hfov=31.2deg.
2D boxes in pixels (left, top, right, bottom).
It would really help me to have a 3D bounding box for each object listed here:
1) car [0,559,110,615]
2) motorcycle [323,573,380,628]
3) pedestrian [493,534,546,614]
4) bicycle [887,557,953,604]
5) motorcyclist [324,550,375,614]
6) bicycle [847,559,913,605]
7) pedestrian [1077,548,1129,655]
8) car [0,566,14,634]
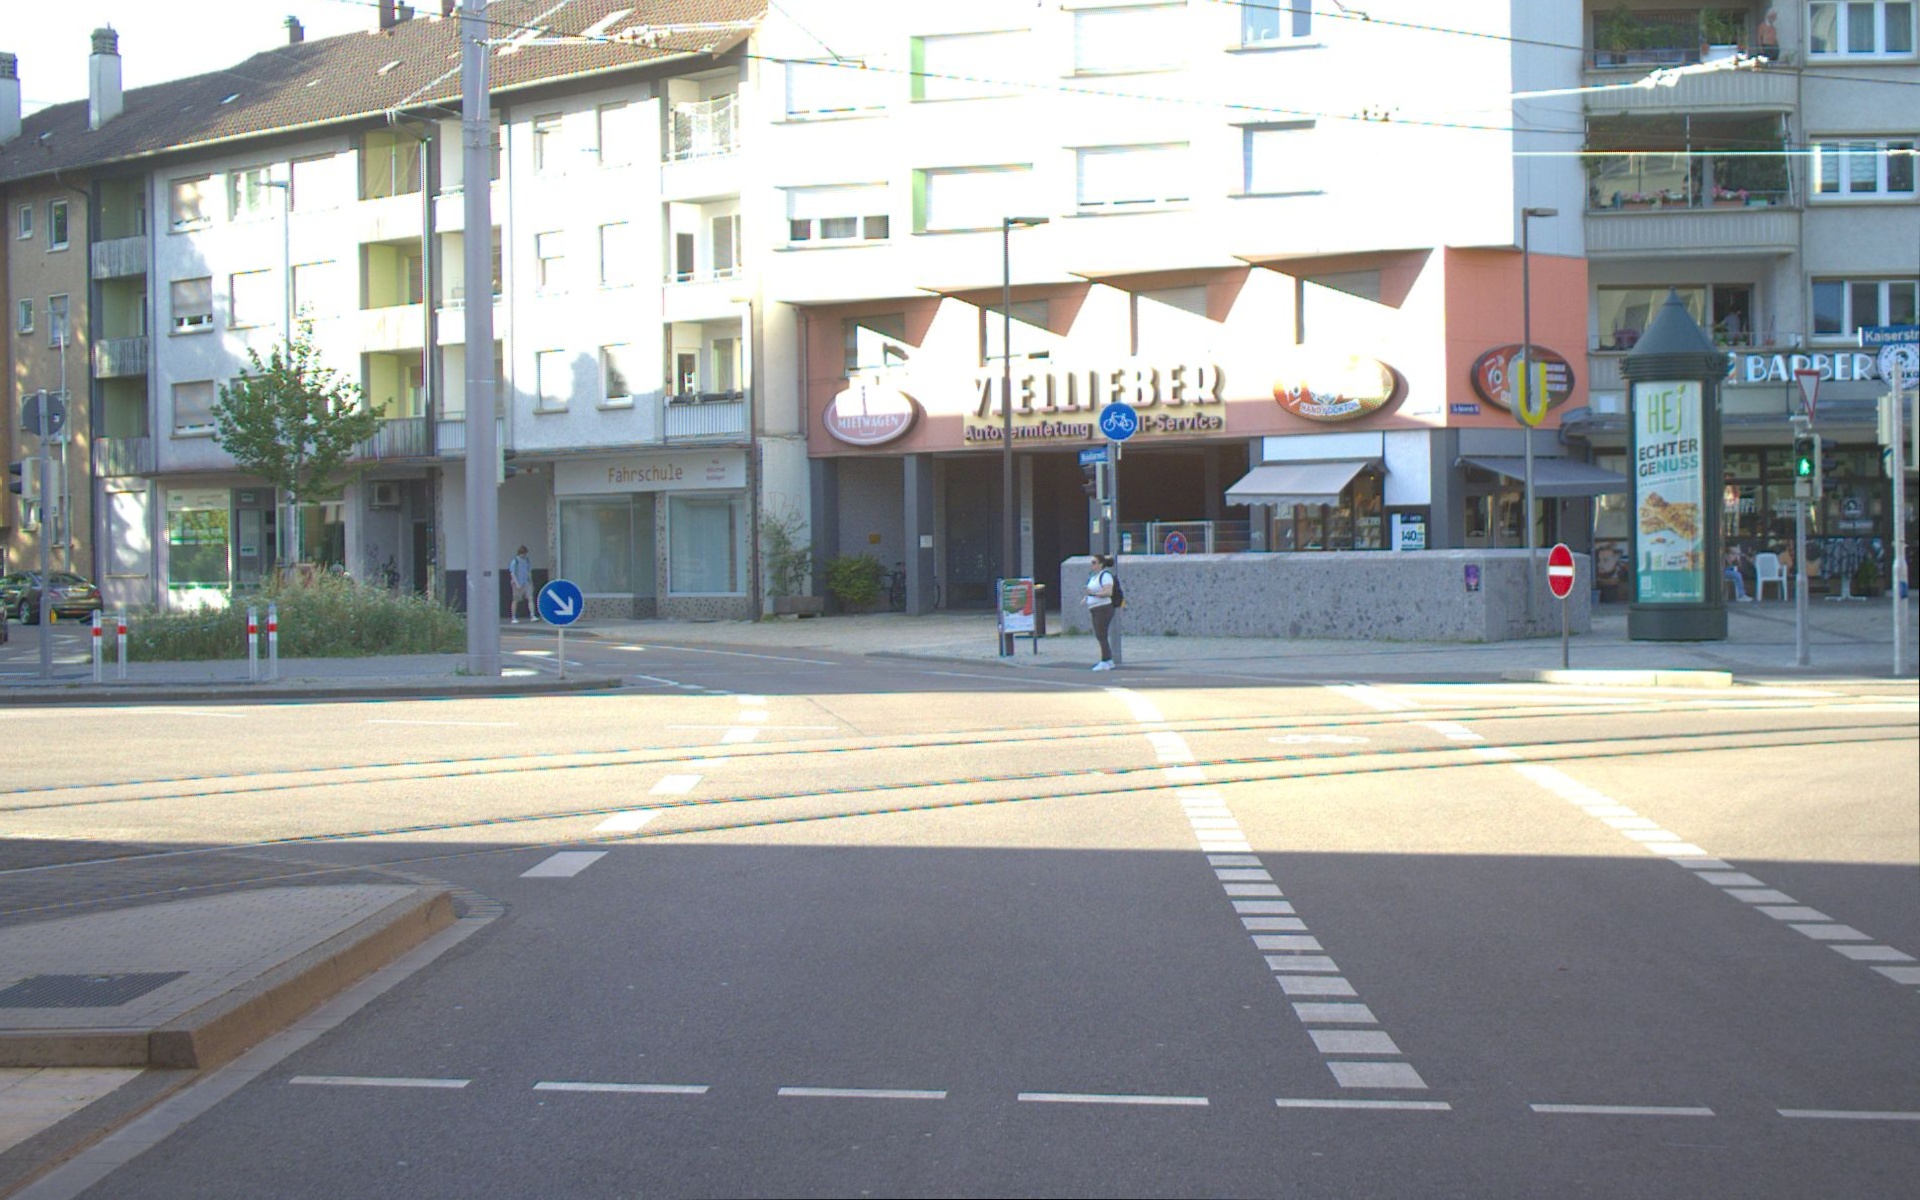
[{"bbox_3d":[-23.756,-0.349,88.319,3.997,1.384,1.925,0,1,44],"label":"car"},{"bbox_3d":[-12.887,0.002,72.744,0.973,1.128,2.806,1,1,-14],"label":"motorcycle"},{"bbox_3d":[-10.368,-0.610,80.986,0.732,1.848,0.947,-4,3,-44],"label":"pedestrian"},{"bbox_3d":[-0.912,-0.444,77.765,0.495,1.035,1.637,-1,1,-43],"label":"bicycle"},{"bbox_3d":[-12.960,-0.385,72.998,0.970,1.342,1.138,1,1,-14],"label":"motorcyclist"},{"bbox_3d":[-1.809,-0.406,77.509,0.495,1.035,1.637,-1,1,-43],"label":"bicycle"},{"bbox_3d":[2.136,0.017,51.302,0.539,1.578,0.557,-1,1,-41],"label":"pedestrian"},{"bbox_3d":[-20.355,0.015,68.549,1.832,1.381,4.596,-1,0,-2],"label":"car"}]
